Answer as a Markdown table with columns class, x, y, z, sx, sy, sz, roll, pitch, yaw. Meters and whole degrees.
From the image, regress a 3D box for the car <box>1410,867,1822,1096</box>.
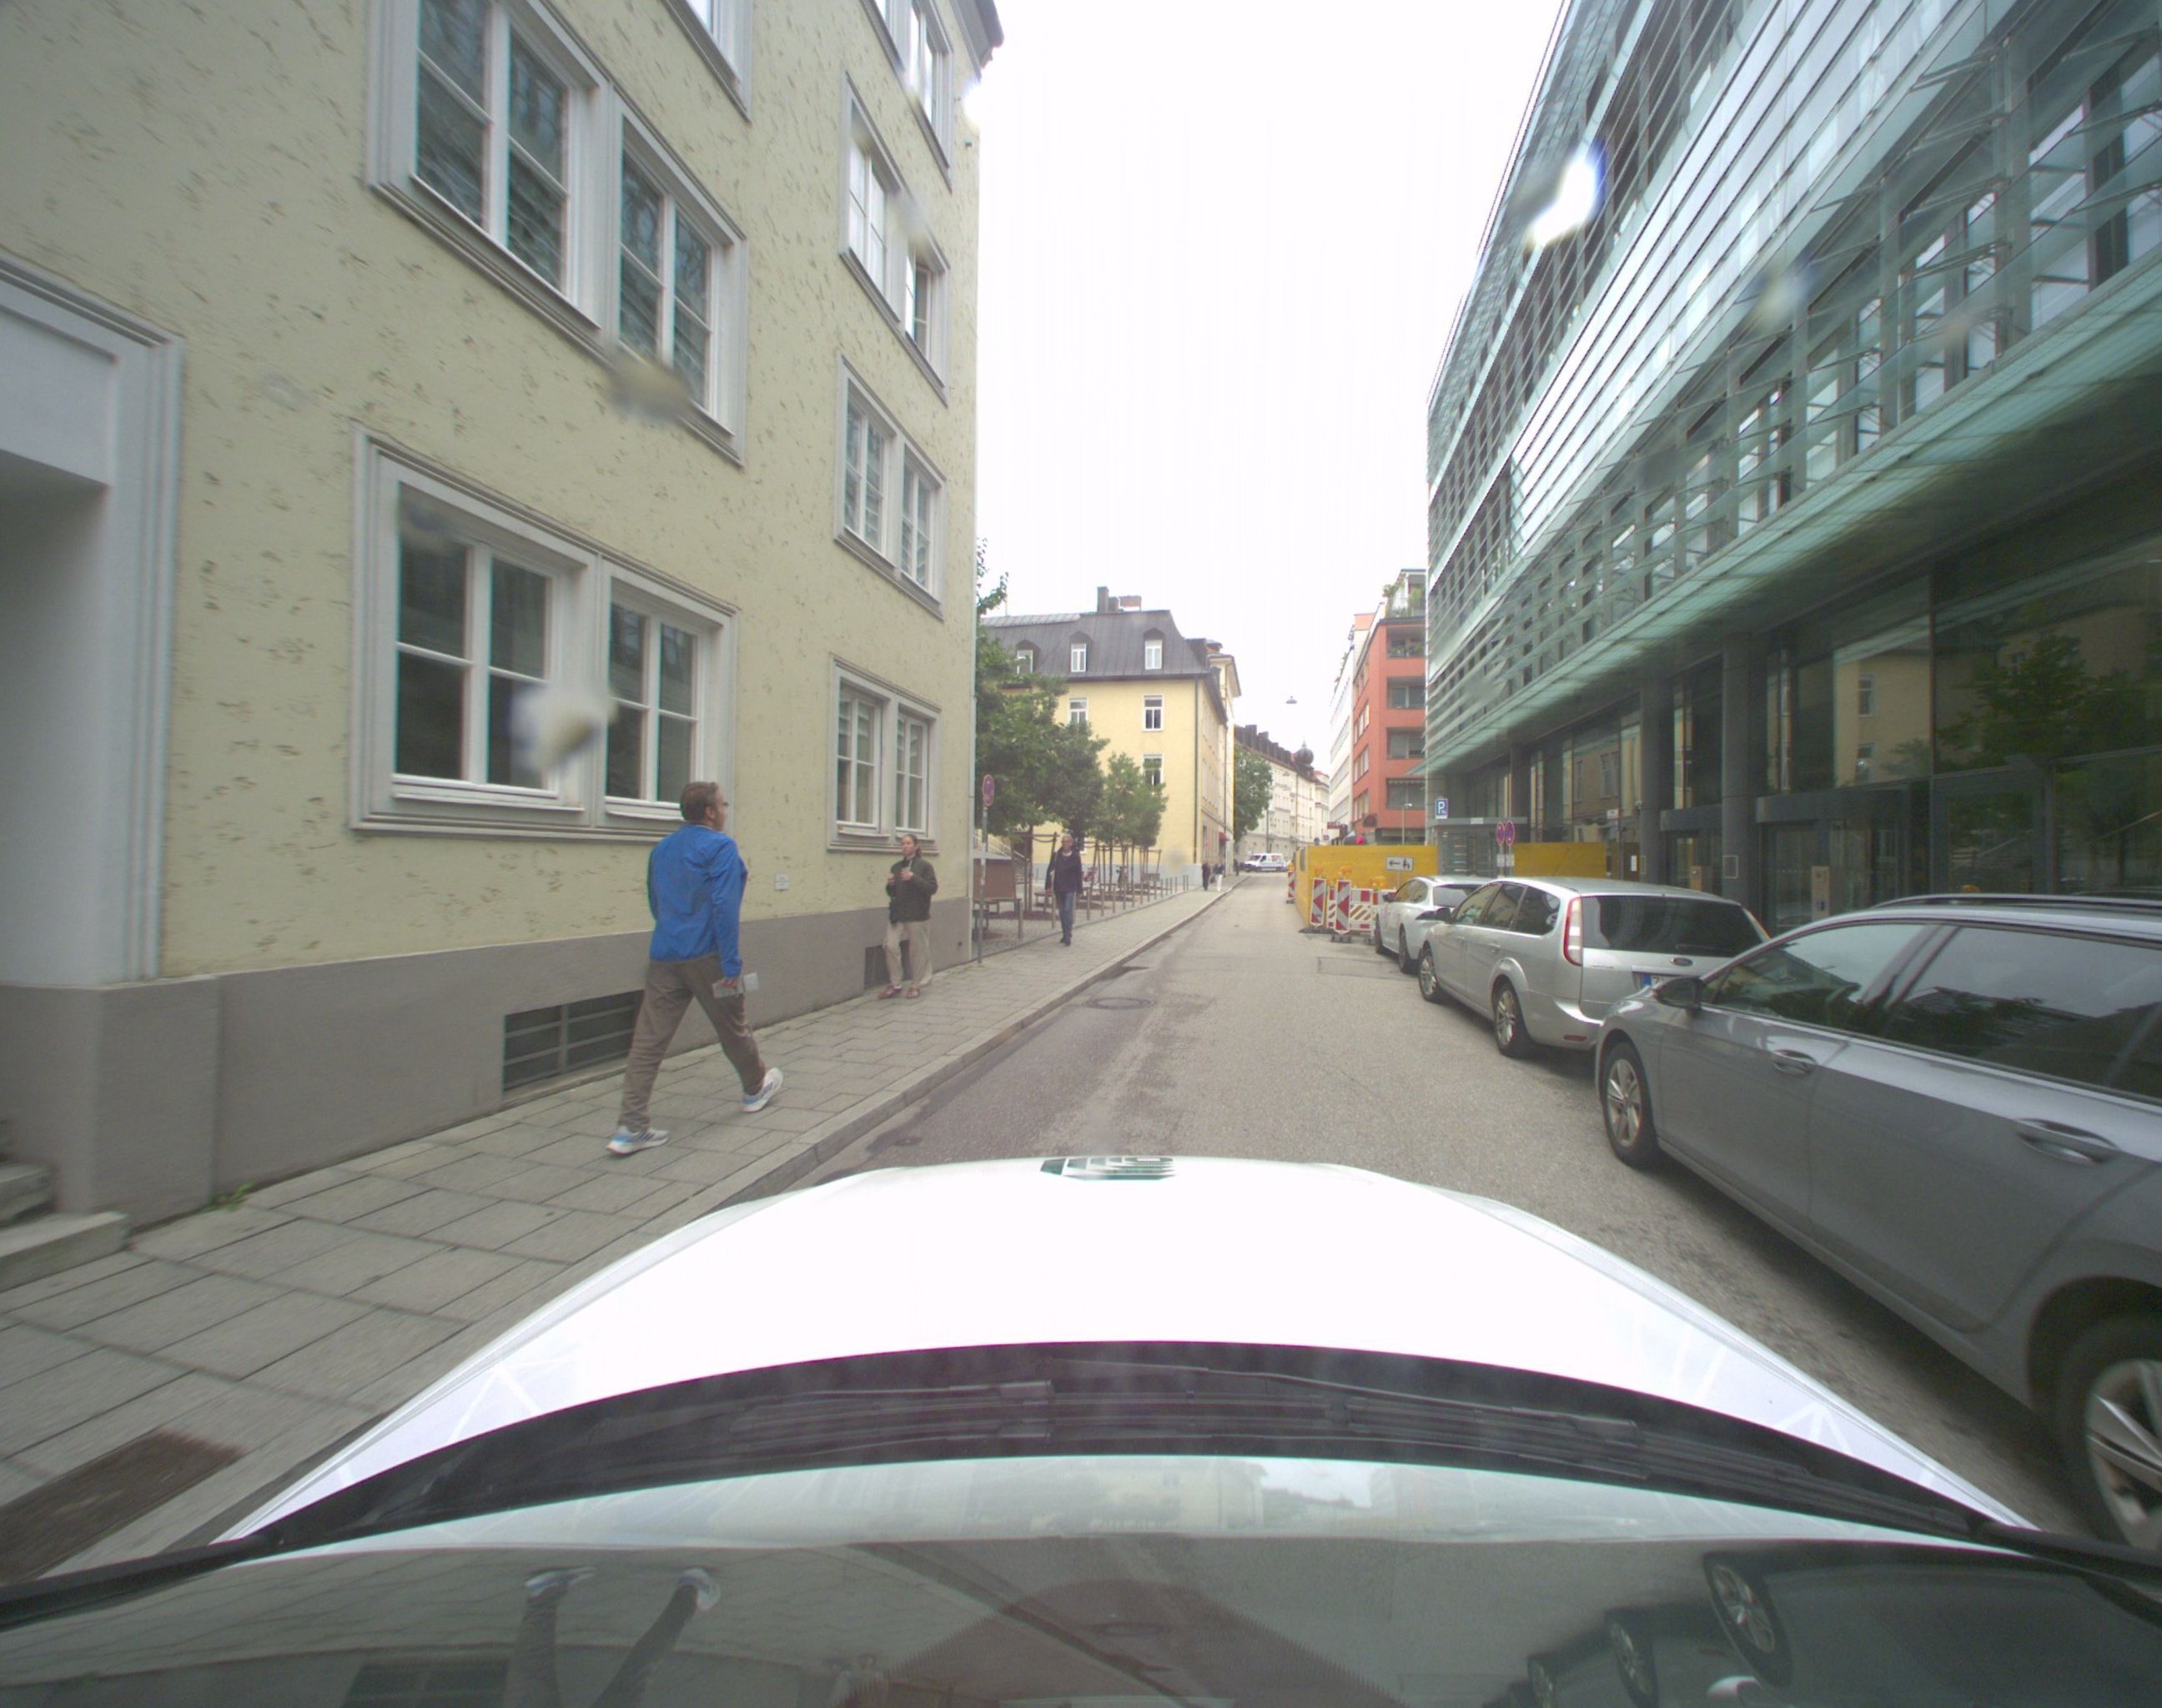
| class | x | y | z | sx | sy | sz | roll | pitch | yaw |
| --- | --- | --- | --- | --- | --- | --- | --- | --- | --- |
| car | 4.505 | 0.891 | 7.716 | 1.697 | 1.467 | 4.248 | 2 | 0 | 10 |

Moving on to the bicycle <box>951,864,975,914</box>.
| class | x | y | z | sx | sy | sz | roll | pitch | yaw |
| --- | --- | --- | --- | --- | --- | --- | --- | --- | --- |
| bicycle | -3.050 | 0.883 | 20.938 | 0.550 | 1.197 | 1.832 | 1 | 0 | -9 |

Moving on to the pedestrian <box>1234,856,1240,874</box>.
| class | x | y | z | sx | sy | sz | roll | pitch | yaw |
| --- | --- | --- | --- | --- | --- | --- | --- | --- | --- |
| pedestrian | 14.666 | 1.062 | 76.421 | 0.513 | 1.675 | 0.638 | 1 | 0 | 9 |

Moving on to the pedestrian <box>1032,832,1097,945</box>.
| class | x | y | z | sx | sy | sz | roll | pitch | yaw |
| --- | --- | --- | --- | --- | --- | --- | --- | --- | --- |
| pedestrian | -0.274 | 0.581 | 14.367 | 0.862 | 1.881 | 1.138 | 1 | -1 | 12 |

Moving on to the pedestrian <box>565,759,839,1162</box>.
| class | x | y | z | sx | sy | sz | roll | pitch | yaw |
| --- | --- | --- | --- | --- | --- | --- | --- | --- | --- |
| pedestrian | -1.957 | 0.485 | 4.369 | 0.751 | 1.854 | 1.081 | 2 | -1 | 13 |

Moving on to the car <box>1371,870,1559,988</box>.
| class | x | y | z | sx | sy | sz | roll | pitch | yaw |
| --- | --- | --- | --- | --- | --- | --- | --- | --- | --- |
| car | 5.736 | 0.994 | 12.741 | 1.696 | 1.414 | 4.525 | 2 | 0 | 13 |

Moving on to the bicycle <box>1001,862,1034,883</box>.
| class | x | y | z | sx | sy | sz | roll | pitch | yaw |
| --- | --- | --- | --- | --- | --- | --- | --- | --- | --- |
| bicycle | -3.463 | 1.000 | 44.407 | 1.643 | 1.069 | 0.600 | 2 | 0 | 17 |

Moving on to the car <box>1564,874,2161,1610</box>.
| class | x | y | z | sx | sy | sz | roll | pitch | yaw |
| --- | --- | --- | --- | --- | --- | --- | --- | --- | --- |
| car | 3.259 | 0.820 | 2.599 | 1.696 | 1.432 | 4.344 | 1 | -1 | 13 |

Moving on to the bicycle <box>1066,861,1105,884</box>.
| class | x | y | z | sx | sy | sz | roll | pitch | yaw |
| --- | --- | --- | --- | --- | --- | --- | --- | --- | --- |
| bicycle | 0.231 | 0.988 | 43.853 | 2.026 | 1.198 | 0.573 | 1 | 0 | 20 |

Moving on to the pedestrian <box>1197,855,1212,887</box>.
| class | x | y | z | sx | sy | sz | roll | pitch | yaw |
| --- | --- | --- | --- | --- | --- | --- | --- | --- | --- |
| pedestrian | 6.488 | 0.887 | 42.662 | 0.666 | 1.648 | 0.764 | 1 | -1 | 12 |

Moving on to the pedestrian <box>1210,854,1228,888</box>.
| class | x | y | z | sx | sy | sz | roll | pitch | yaw |
| --- | --- | --- | --- | --- | --- | --- | --- | --- | --- |
| pedestrian | 7.217 | 0.881 | 42.447 | 0.833 | 1.700 | 0.805 | 1 | -1 | 13 |

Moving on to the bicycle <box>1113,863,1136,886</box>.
| class | x | y | z | sx | sy | sz | roll | pitch | yaw |
| --- | --- | --- | --- | --- | --- | --- | --- | --- | --- |
| bicycle | 2.209 | 1.045 | 41.430 | 0.505 | 1.144 | 2.063 | 2 | 0 | 21 |

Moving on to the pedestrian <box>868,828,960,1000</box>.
| class | x | y | z | sx | sy | sz | roll | pitch | yaw |
| --- | --- | --- | --- | --- | --- | --- | --- | --- | --- |
| pedestrian | -1.703 | 0.592 | 8.395 | 0.643 | 1.676 | 0.726 | 1 | -1 | 12 |

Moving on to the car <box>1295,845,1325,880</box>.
| class | x | y | z | sx | sy | sz | roll | pitch | yaw |
| --- | --- | --- | --- | --- | --- | --- | --- | --- | --- |
| car | 17.857 | 0.655 | 63.640 | 1.980 | 2.536 | 4.992 | 1 | 0 | 12 |

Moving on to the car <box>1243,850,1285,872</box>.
| class | x | y | z | sx | sy | sz | roll | pitch | yaw |
| --- | --- | --- | --- | --- | --- | --- | --- | --- | --- |
| car | 21.776 | 0.838 | 96.698 | 5.014 | 2.398 | 1.979 | 1 | 0 | -35 |
